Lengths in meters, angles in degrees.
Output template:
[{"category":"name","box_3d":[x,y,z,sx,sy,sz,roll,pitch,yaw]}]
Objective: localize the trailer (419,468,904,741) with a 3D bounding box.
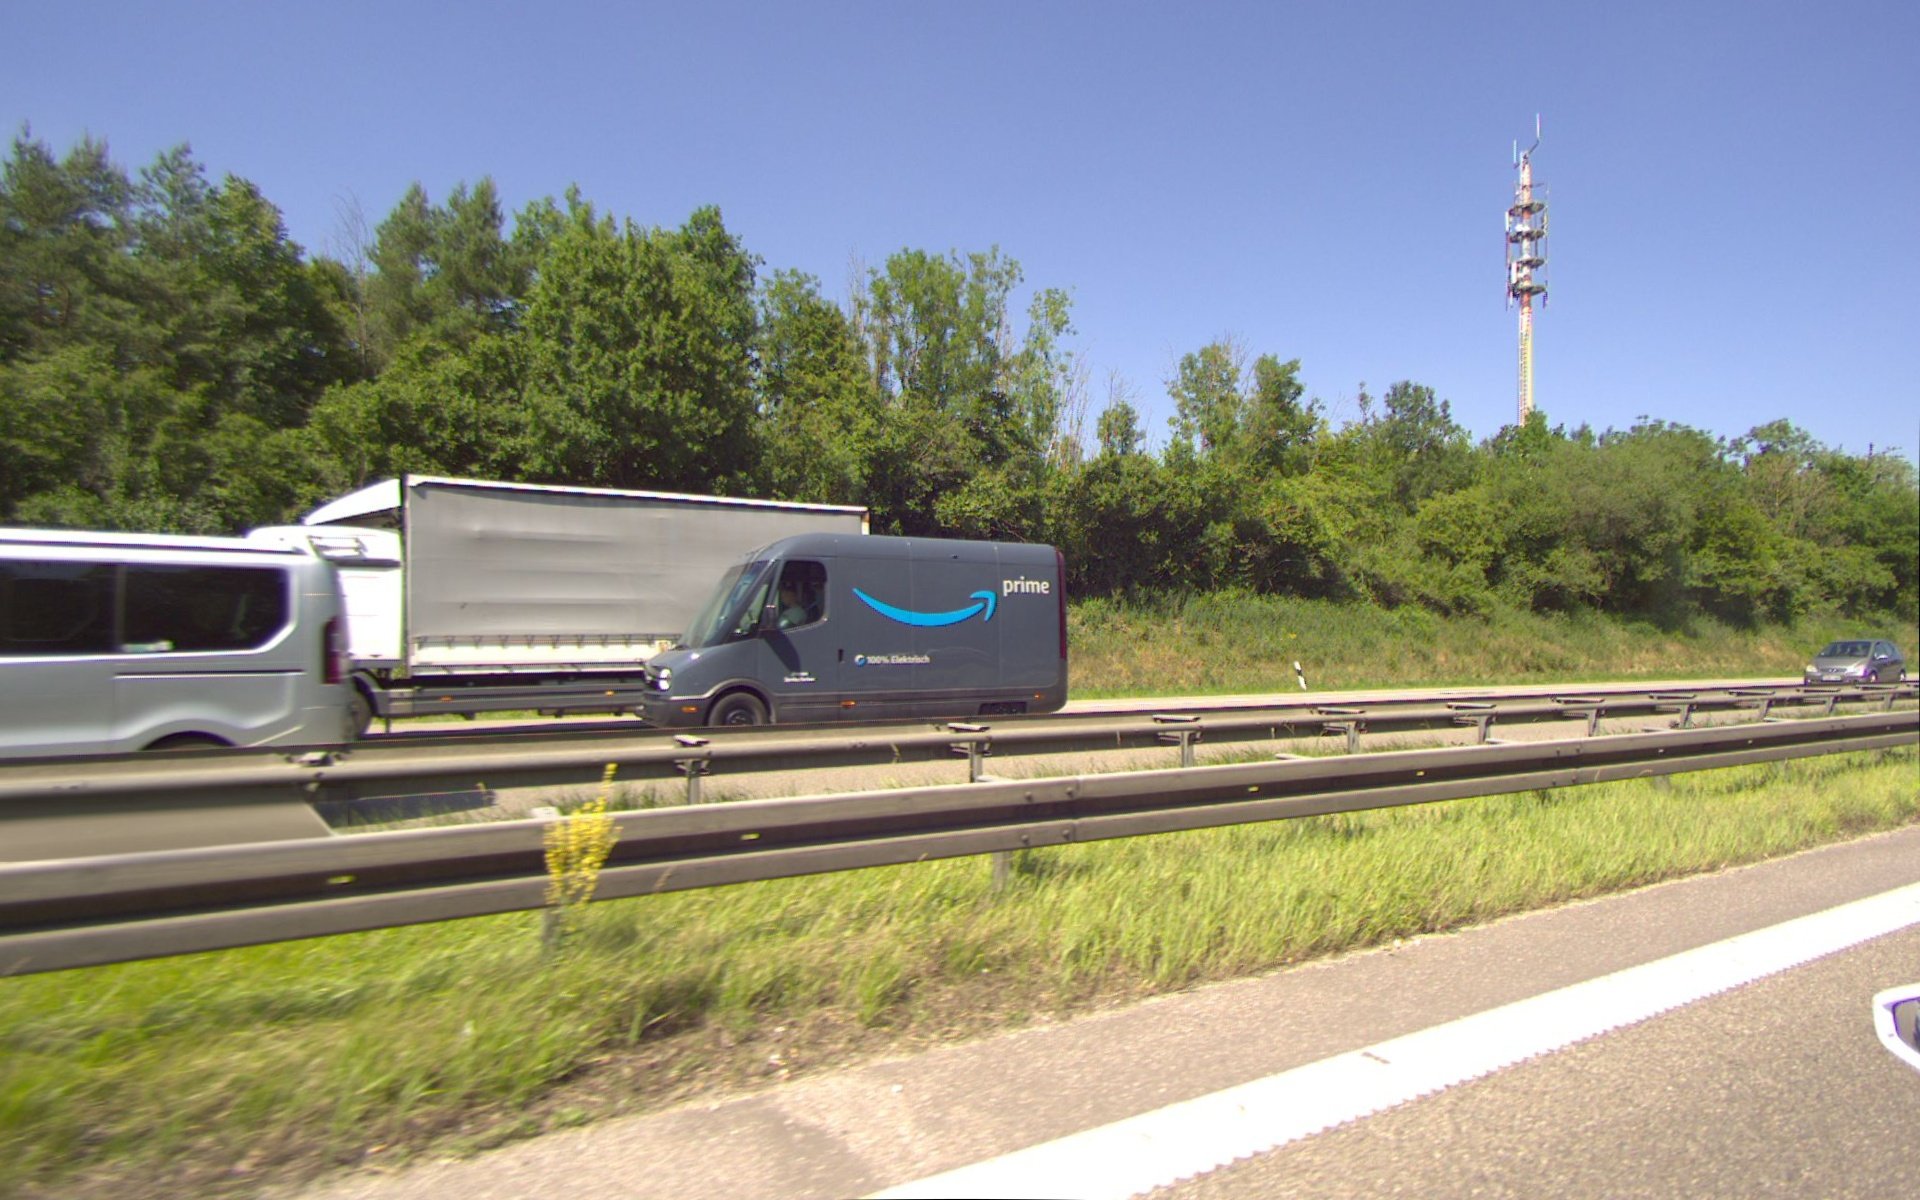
[{"category":"trailer","box_3d":[-4.946,0.199,17.313,7.602,3.859,2.700,1,-3,-30]}]

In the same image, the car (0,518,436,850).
[{"category":"car","box_3d":[-6.504,0.558,6.787,5.173,2.006,1.919,1,-4,-30]}]

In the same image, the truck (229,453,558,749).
[{"category":"truck","box_3d":[-8.429,0.110,15.268,3.953,3.859,2.691,1,-3,-30]}]

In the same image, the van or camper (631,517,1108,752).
[{"category":"van or camper","box_3d":[-1.173,0.544,14.814,6.715,2.848,2.188,1,-4,-30]}]

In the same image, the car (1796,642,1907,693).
[{"category":"car","box_3d":[28.546,2.121,32.151,3.503,1.515,1.667,1,-2,-30]}]
